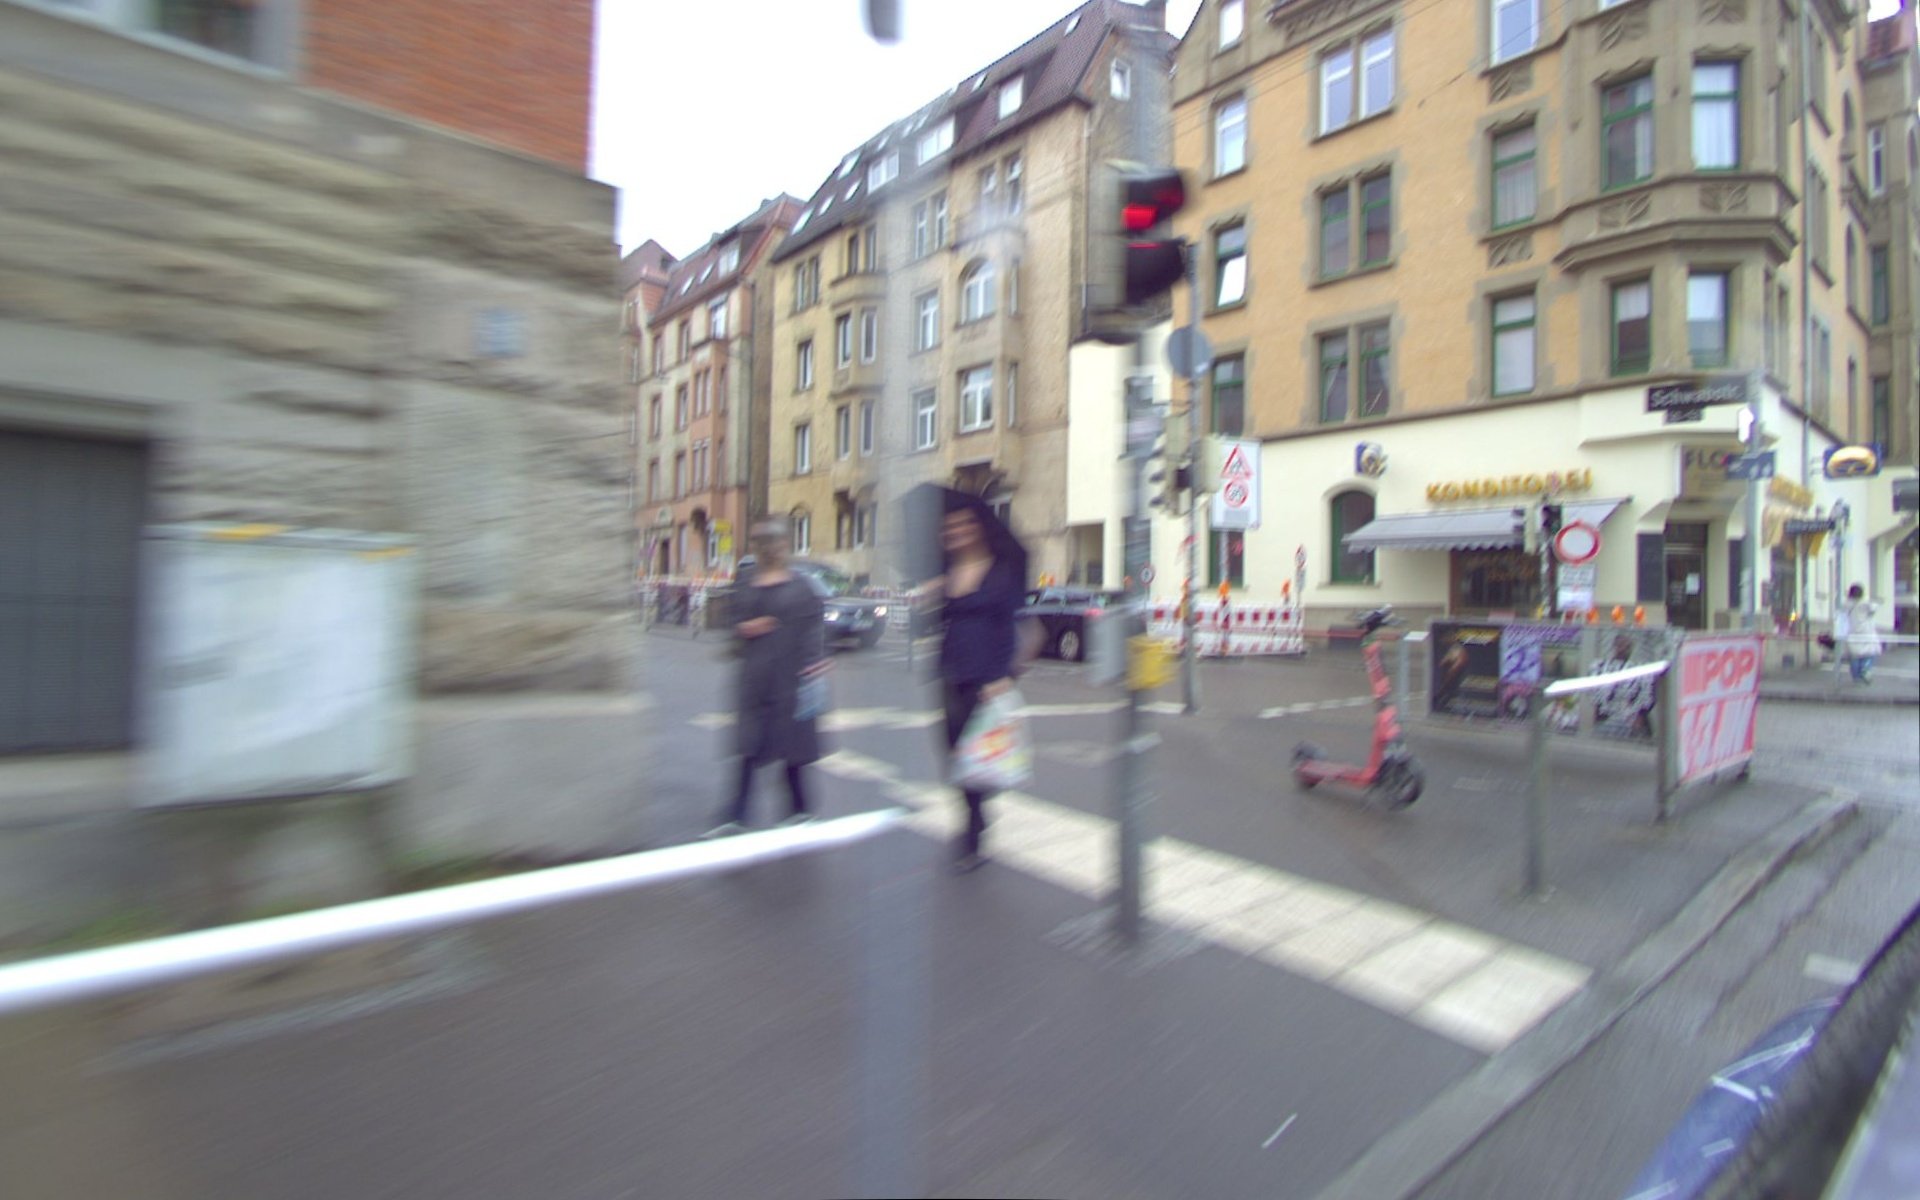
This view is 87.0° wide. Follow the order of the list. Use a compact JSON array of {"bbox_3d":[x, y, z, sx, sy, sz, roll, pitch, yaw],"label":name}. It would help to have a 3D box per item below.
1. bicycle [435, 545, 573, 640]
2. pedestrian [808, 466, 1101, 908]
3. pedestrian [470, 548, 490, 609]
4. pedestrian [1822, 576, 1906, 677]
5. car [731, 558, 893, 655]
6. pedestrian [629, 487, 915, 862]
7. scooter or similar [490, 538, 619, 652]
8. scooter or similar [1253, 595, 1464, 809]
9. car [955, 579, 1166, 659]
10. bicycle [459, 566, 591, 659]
[{"bbox_3d":[-7.076,-0.095,15.773,1.808,1.260,0.344,9,-3,-42],"label":"bicycle"},{"bbox_3d":[-0.033,0.368,5.082,1.054,1.911,0.960,1,0,-41],"label":"pedestrian"},{"bbox_3d":[-15.313,-0.676,32.295,0.427,1.922,0.537,1,-1,-40],"label":"pedestrian"},{"bbox_3d":[15.975,0.455,17.883,0.767,1.726,0.995,1,-1,-40],"label":"pedestrian"},{"bbox_3d":[-3.204,0.062,21.268,1.702,1.717,4.002,0,3,-35],"label":"car"},{"bbox_3d":[-0.960,0.319,5.151,1.054,1.646,0.960,1,1,-41],"label":"pedestrian"},{"bbox_3d":[-5.488,-0.042,13.744,1.490,1.437,0.409,5,-2,-40],"label":"scooter or similar"},{"bbox_3d":[2.611,0.614,6.763,0.624,1.266,1.253,1,1,-19],"label":"scooter or similar"},{"bbox_3d":[1.857,0.299,19.769,1.768,1.392,3.994,1,1,-41],"label":"car"},{"bbox_3d":[-6.431,0.201,15.015,1.638,1.217,0.414,7,-2,-42],"label":"bicycle"}]
